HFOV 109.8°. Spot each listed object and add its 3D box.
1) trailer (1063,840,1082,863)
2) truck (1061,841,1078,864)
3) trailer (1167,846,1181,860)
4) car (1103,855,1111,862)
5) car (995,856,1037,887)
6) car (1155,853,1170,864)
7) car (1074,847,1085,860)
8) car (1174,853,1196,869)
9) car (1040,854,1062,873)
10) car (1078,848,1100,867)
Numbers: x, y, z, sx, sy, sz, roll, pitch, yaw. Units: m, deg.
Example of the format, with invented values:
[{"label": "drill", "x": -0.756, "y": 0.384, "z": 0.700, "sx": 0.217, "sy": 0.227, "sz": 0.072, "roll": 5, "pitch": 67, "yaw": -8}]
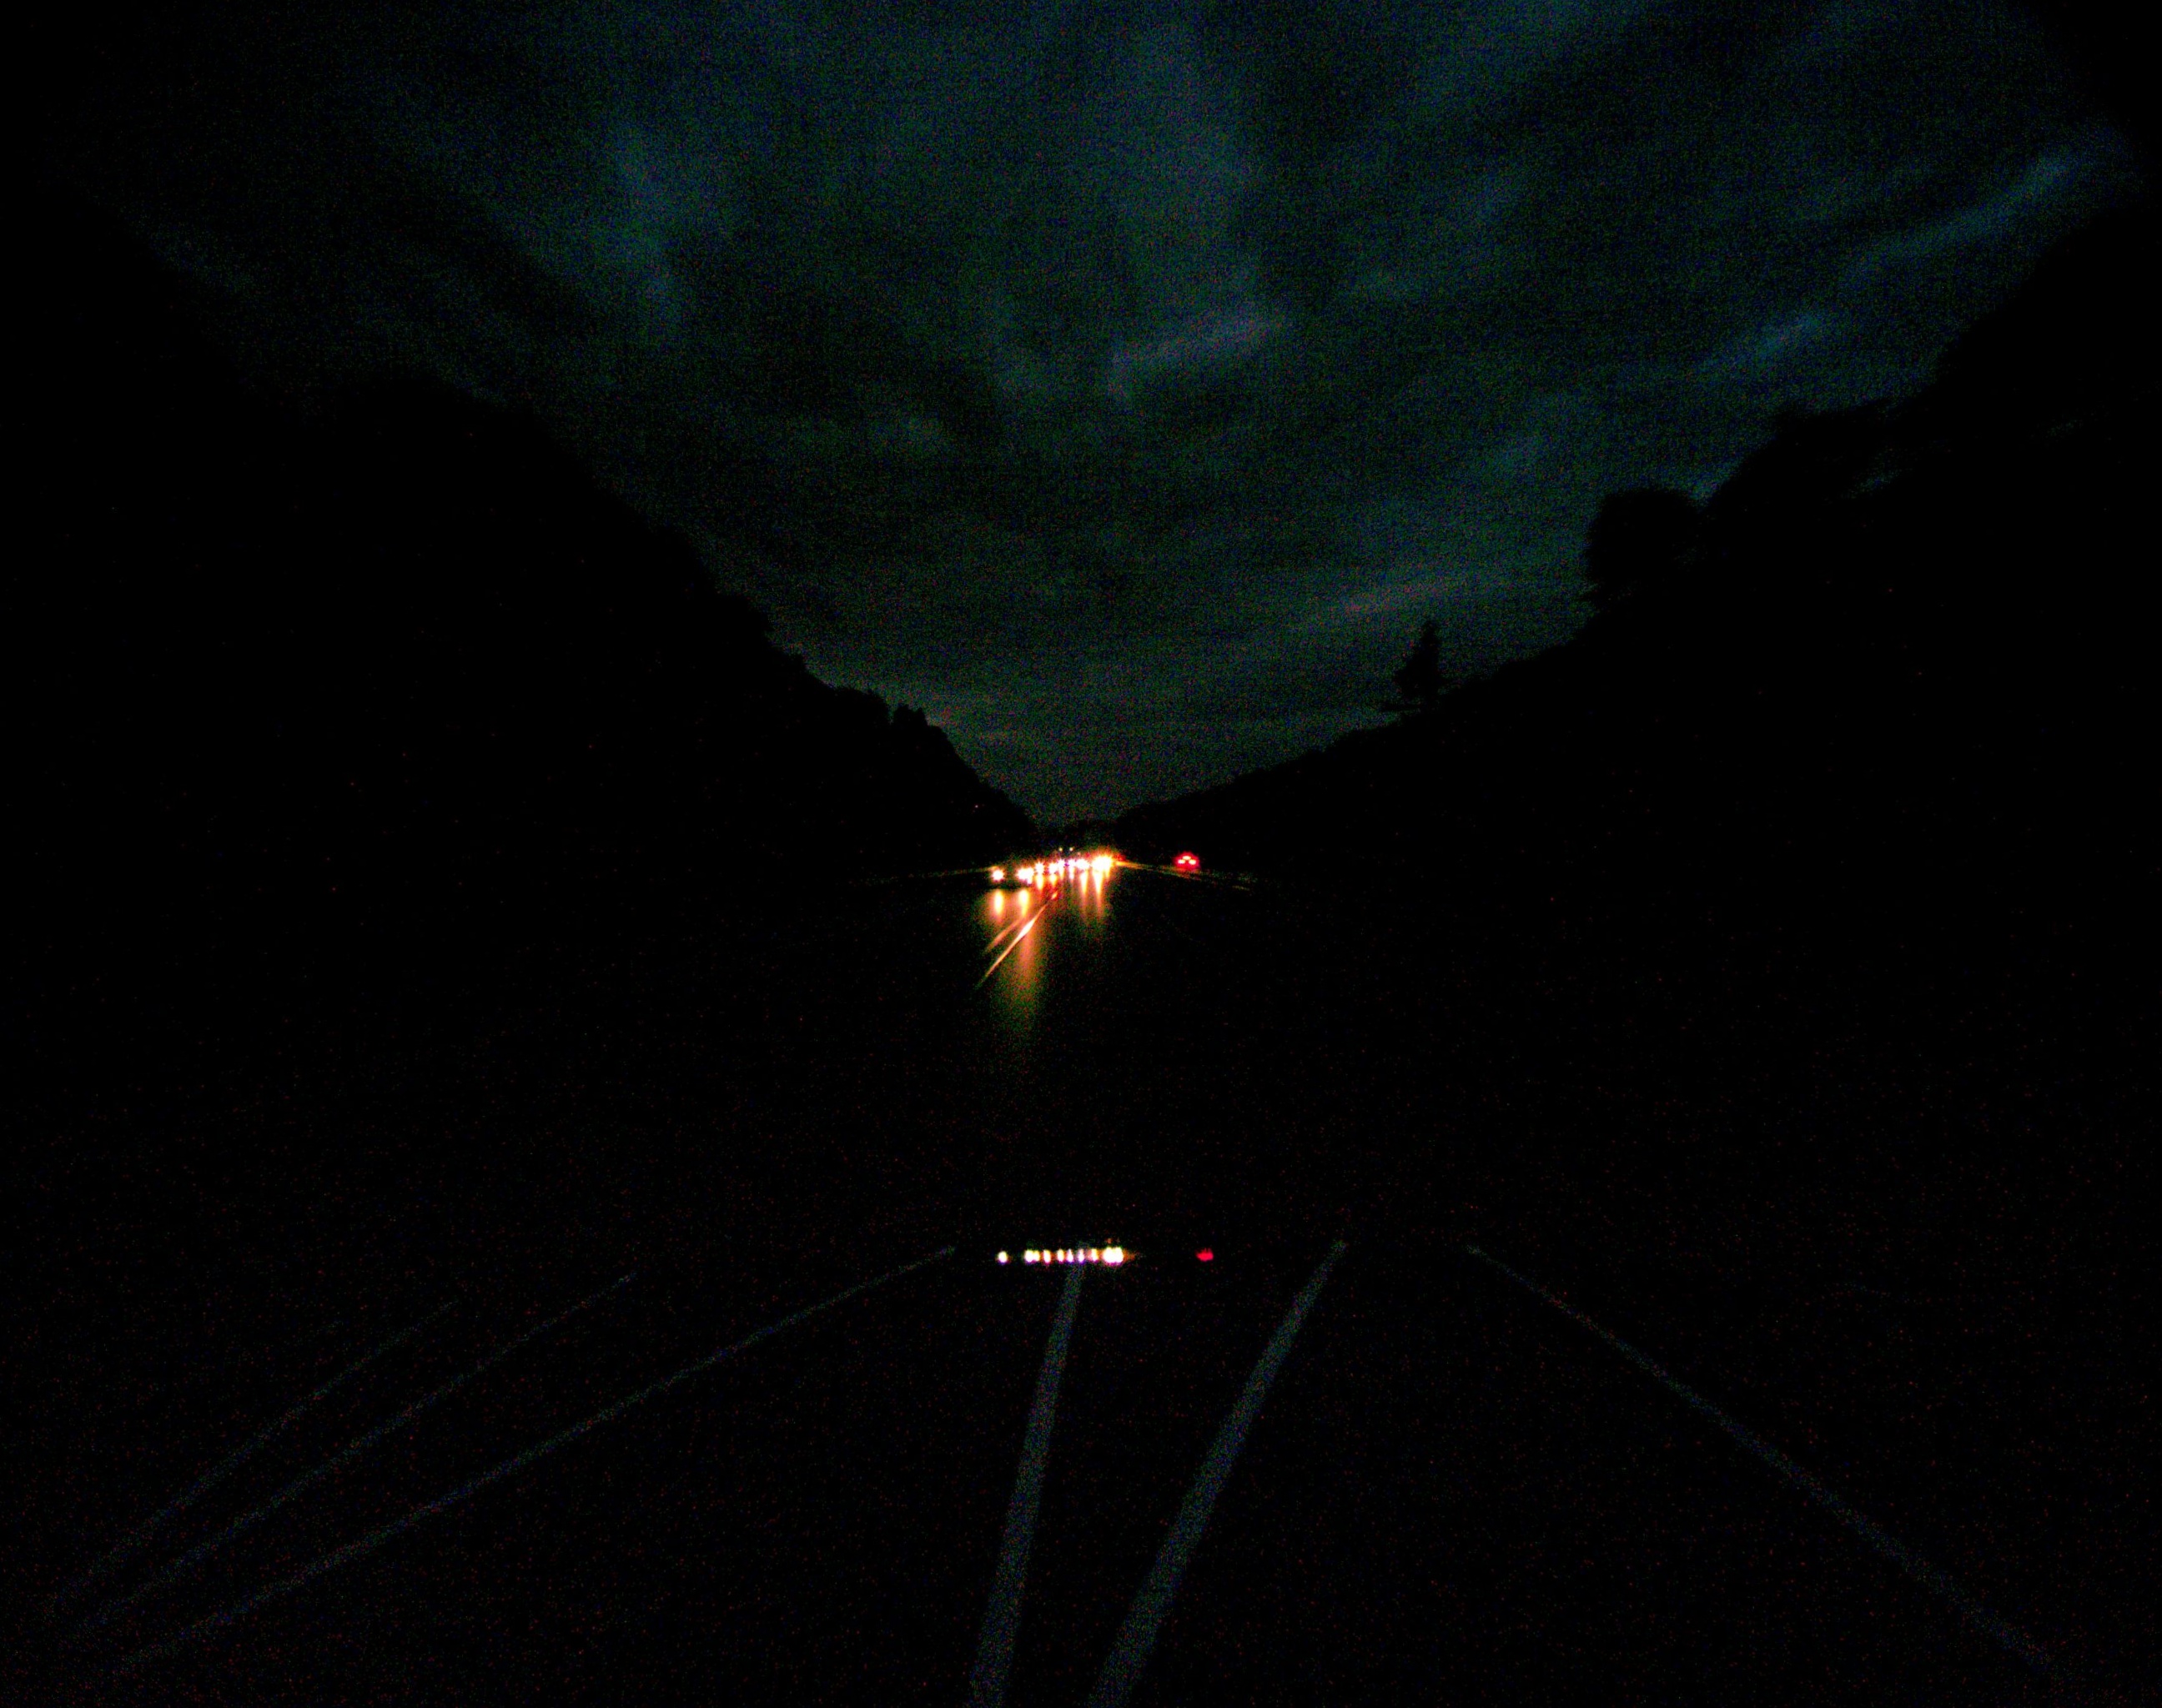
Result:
[{"label": "trailer", "x": -1.578, "y": -0.539, "z": 146.718, "sx": 2.488, "sy": 4.050, "sz": 13.504, "roll": -2, "pitch": 1, "yaw": 3}, {"label": "truck", "x": -2.062, "y": -0.324, "z": 139.134, "sx": 2.497, "sy": 3.945, "sz": 5.591, "roll": -2, "pitch": 2, "yaw": 4}, {"label": "trailer", "x": 29.370, "y": -0.427, "z": 240.734, "sx": 3.198, "sy": 4.081, "sz": 14.183, "roll": -2, "pitch": 1, "yaw": 2}, {"label": "car", "x": 6.120, "y": 1.094, "z": 180.088, "sx": 1.695, "sy": 1.481, "sz": 4.948, "roll": -1, "pitch": 1, "yaw": 1}, {"label": "car", "x": -3.485, "y": 0.909, "z": 41.425, "sx": 1.870, "sy": 1.427, "sz": 4.583, "roll": -3, "pitch": 0, "yaw": 0}, {"label": "car", "x": 13.003, "y": 0.727, "z": 121.963, "sx": 1.921, "sy": 1.603, "sz": 5.159, "roll": 0, "pitch": 0, "yaw": 1}, {"label": "car", "x": -0.361, "y": -0.091, "z": 227.850, "sx": 2.998, "sy": 3.659, "sz": 9.999, "roll": -1, "pitch": 0, "yaw": 1}, {"label": "car", "x": 12.511, "y": 0.838, "z": 91.642, "sx": 1.935, "sy": 1.920, "sz": 5.111, "roll": 0, "pitch": 0, "yaw": -1}, {"label": "car", "x": -2.987, "y": 0.979, "z": 76.085, "sx": 1.695, "sy": 1.480, "sz": 4.954, "roll": -3, "pitch": -5, "yaw": 2}, {"label": "car", "x": 0.861, "y": 0.335, "z": 77.313, "sx": 1.869, "sy": 1.701, "sz": 4.585, "roll": -2, "pitch": 1, "yaw": 5}]
